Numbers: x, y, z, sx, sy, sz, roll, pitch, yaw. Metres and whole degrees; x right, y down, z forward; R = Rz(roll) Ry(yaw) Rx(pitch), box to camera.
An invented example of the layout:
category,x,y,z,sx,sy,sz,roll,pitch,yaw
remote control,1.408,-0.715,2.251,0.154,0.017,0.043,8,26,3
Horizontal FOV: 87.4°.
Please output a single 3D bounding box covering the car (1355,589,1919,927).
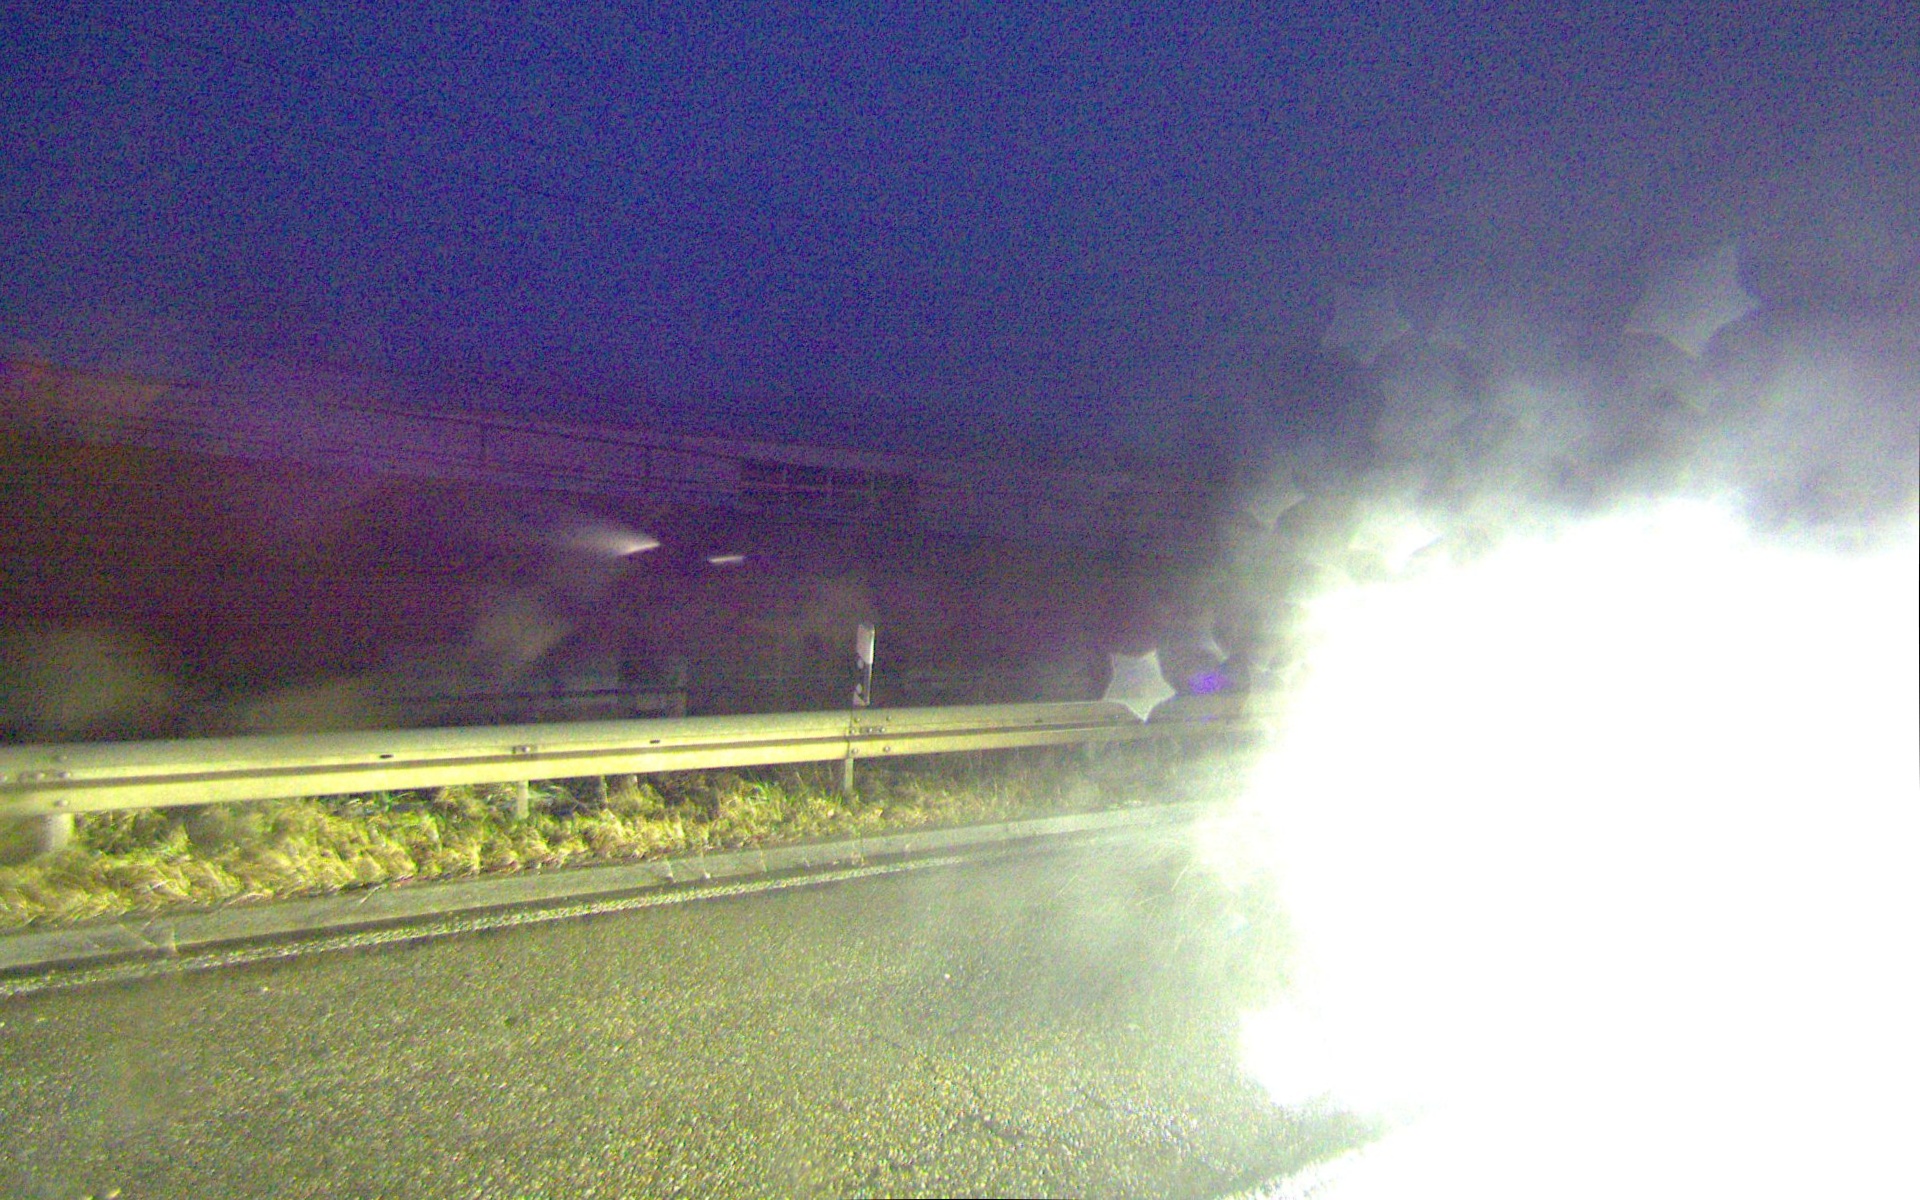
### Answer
category,x,y,z,sx,sy,sz,roll,pitch,yaw
car,4.722,0.750,6.531,4.208,1.566,1.828,1,0,-31
